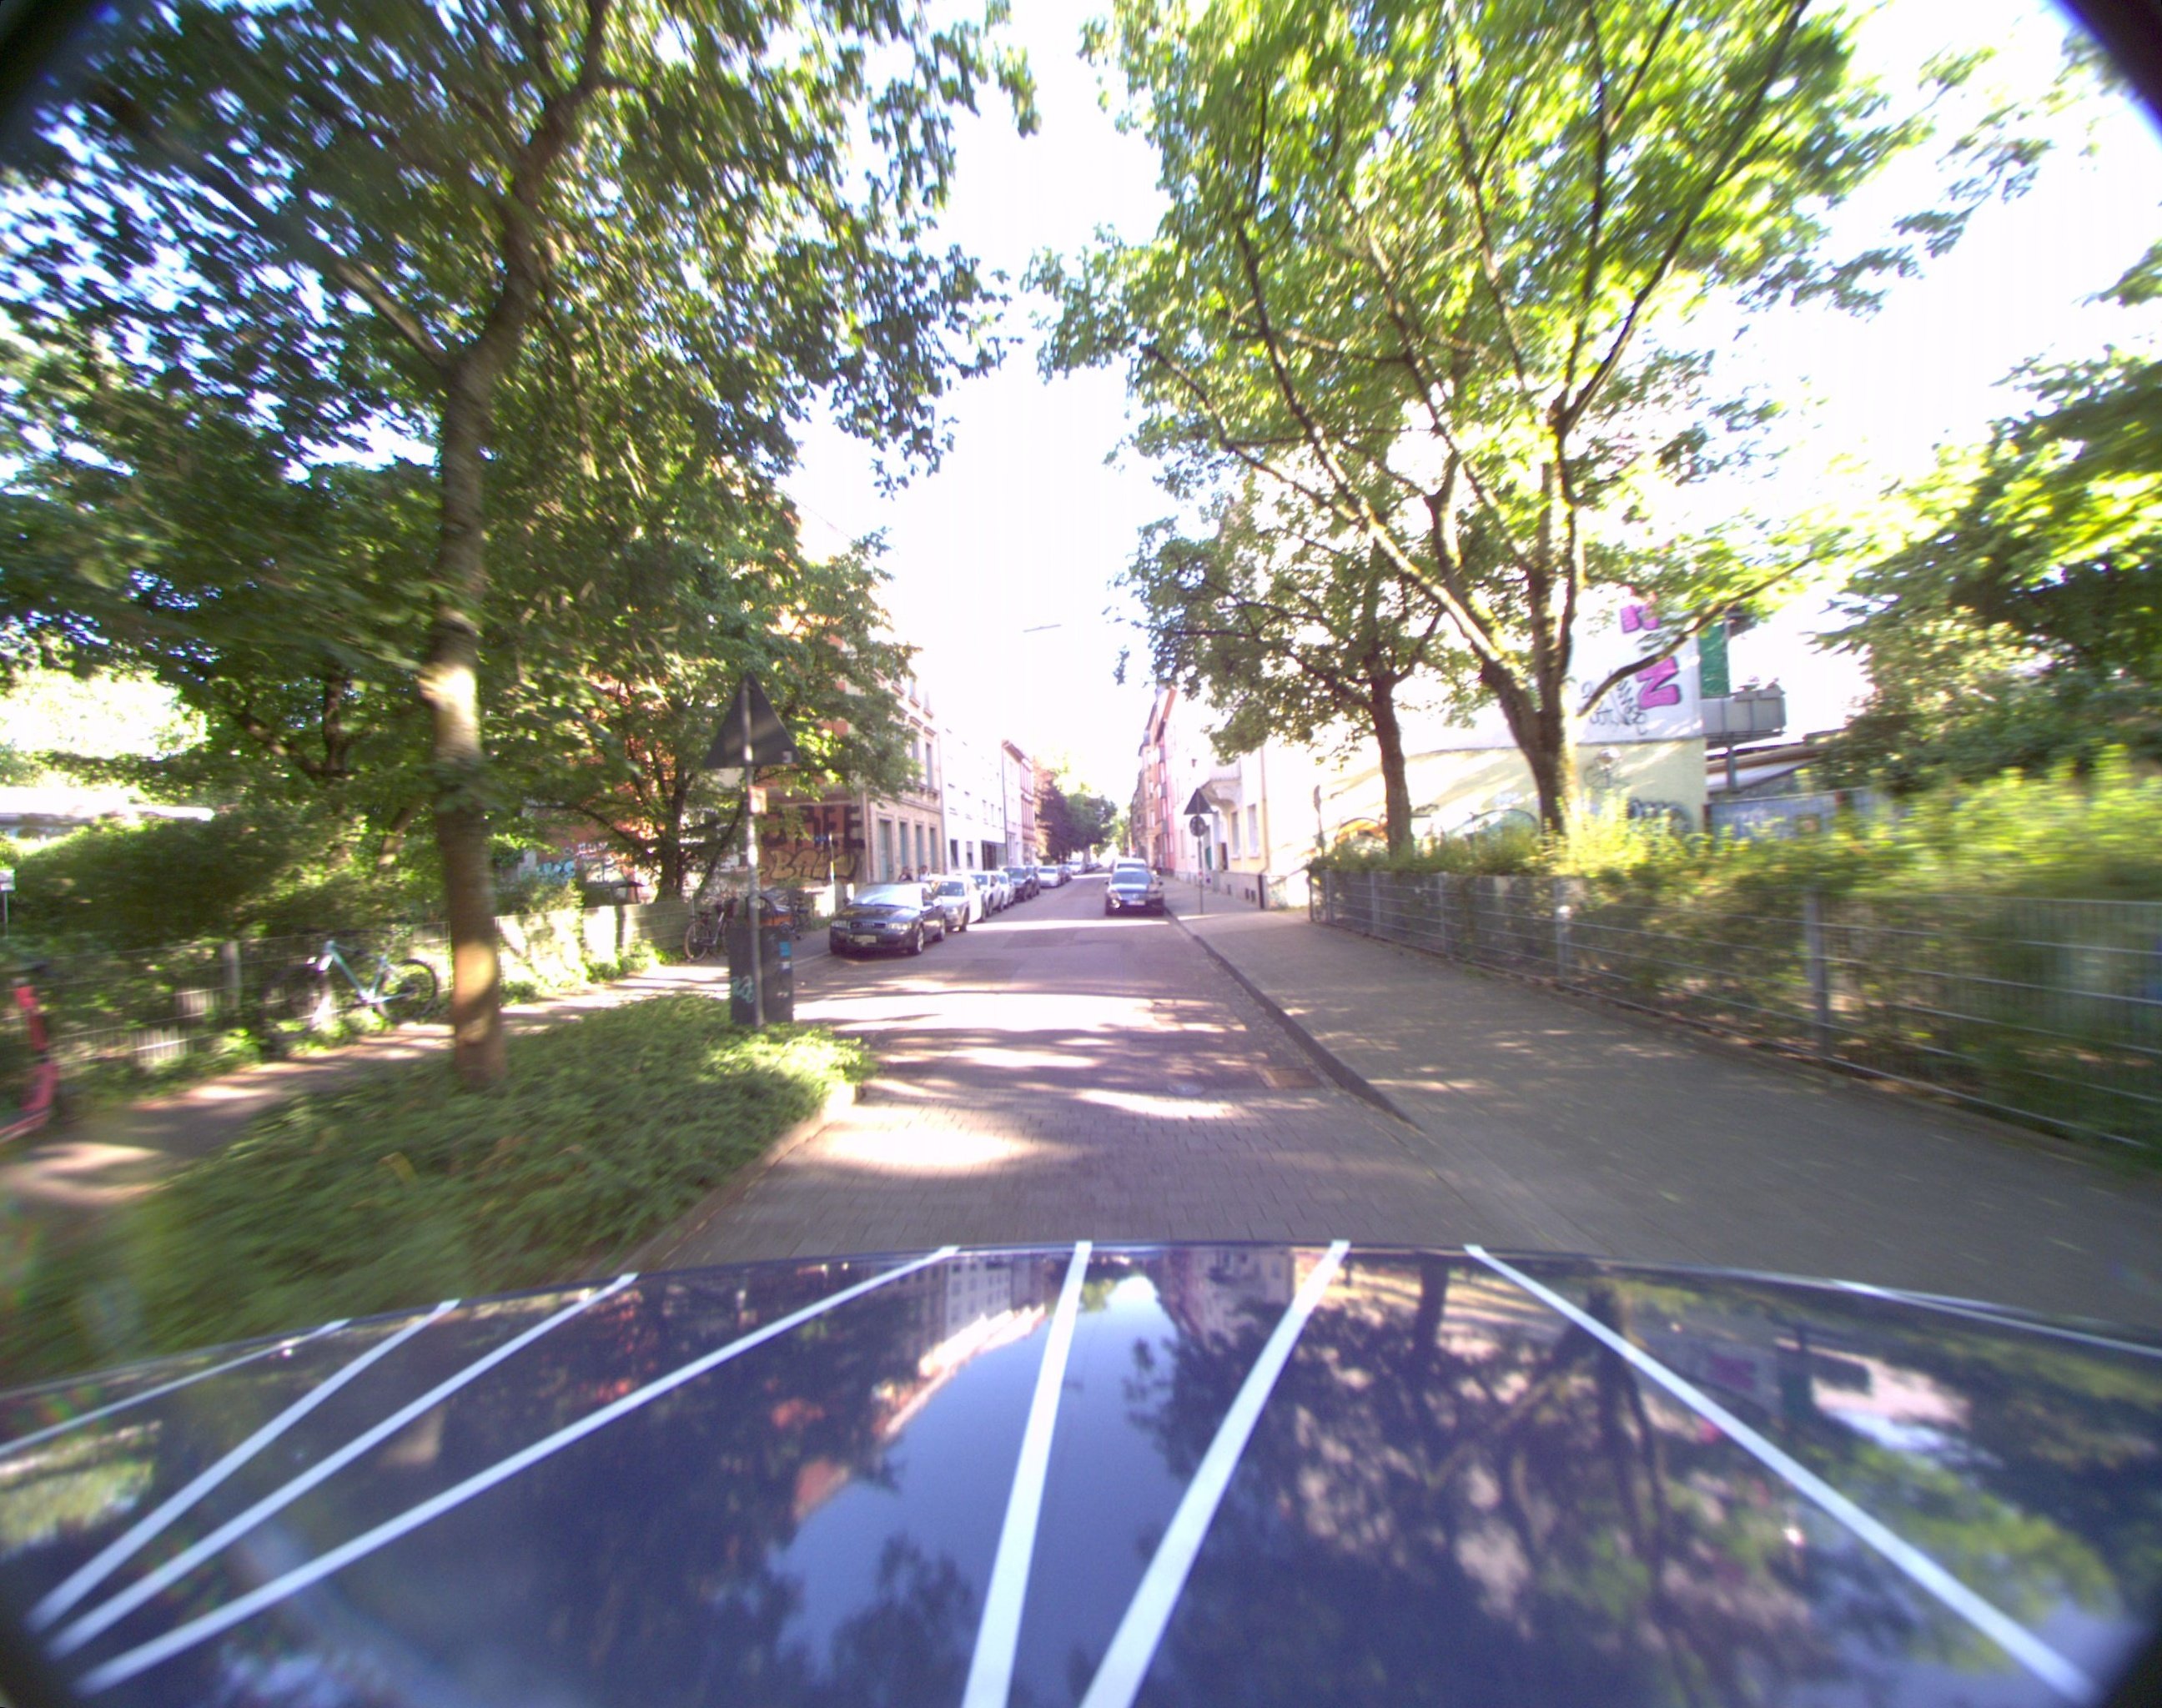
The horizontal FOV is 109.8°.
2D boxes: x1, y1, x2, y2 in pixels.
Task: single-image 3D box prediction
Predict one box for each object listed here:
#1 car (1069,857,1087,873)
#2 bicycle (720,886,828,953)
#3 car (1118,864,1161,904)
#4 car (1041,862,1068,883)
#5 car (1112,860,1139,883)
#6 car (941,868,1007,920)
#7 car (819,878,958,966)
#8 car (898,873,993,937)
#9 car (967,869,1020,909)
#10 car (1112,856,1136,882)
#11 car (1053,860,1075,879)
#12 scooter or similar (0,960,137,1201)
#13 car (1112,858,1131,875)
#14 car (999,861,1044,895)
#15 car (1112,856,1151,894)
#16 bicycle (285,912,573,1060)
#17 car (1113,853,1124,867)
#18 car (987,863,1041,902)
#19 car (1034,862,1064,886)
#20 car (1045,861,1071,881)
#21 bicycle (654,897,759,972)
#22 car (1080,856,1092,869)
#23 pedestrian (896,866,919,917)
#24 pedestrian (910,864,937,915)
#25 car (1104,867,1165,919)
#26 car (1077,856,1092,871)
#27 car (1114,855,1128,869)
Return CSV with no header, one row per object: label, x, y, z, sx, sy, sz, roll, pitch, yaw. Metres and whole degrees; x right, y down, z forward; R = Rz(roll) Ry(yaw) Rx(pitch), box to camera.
car,-0.338,1.336,94.876,1.865,1.970,4.482,0,0,6
bicycle,-6.784,1.406,16.971,1.293,1.294,2.328,-1,0,5
car,2.321,1.126,29.996,1.597,1.442,3.486,0,0,4
car,-1.992,1.374,57.975,1.768,1.524,4.104,-1,0,2
car,3.002,1.173,51.797,1.768,1.463,3.816,0,0,2
car,-3.659,1.333,26.539,1.597,1.576,3.764,-1,0,2
car,-3.948,1.335,16.358,1.725,1.485,4.414,-1,0,1
car,-3.672,1.355,21.400,1.663,1.485,4.354,-1,0,3
car,-3.480,1.367,30.804,1.597,1.442,4.003,-1,0,0
car,3.199,1.101,57.146,1.768,1.814,4.104,0,0,2
car,-1.485,1.355,67.580,1.768,1.524,4.104,0,0,2
scooter or similar,-6.772,1.393,4.743,0.547,1.254,1.470,-1,0,-28
car,3.861,1.185,72.350,1.768,1.524,4.104,0,0,2
car,-3.117,1.243,40.842,1.885,1.657,4.328,0,0,2
car,2.467,0.983,37.756,1.754,1.731,4.315,0,0,1
bicycle,-7.346,1.414,8.847,0.848,1.260,2.693,-2,-1,4
car,6.043,0.938,121.998,1.768,2.074,4.264,0,0,2
car,-3.067,1.270,35.670,1.770,1.657,4.329,-2,0,4
car,-2.181,1.375,53.348,1.768,1.508,4.104,0,0,2
car,-1.857,1.350,62.440,1.768,1.524,4.104,-1,0,2
bicycle,-7.000,1.471,14.334,0.848,1.193,1.982,-2,0,4
car,0.850,1.303,120.110,1.768,2.006,4.264,0,0,2
pedestrian,-5.916,1.261,25.928,0.598,1.699,0.706,1,0,2
pedestrian,-5.399,1.209,26.082,0.712,1.699,0.752,1,0,2
car,1.659,1.164,24.424,1.783,1.435,4.393,0,0,2
car,0.445,1.256,101.448,1.768,1.846,4.286,-3,0,2
car,5.300,1.034,101.230,1.768,1.846,3.994,0,0,2
